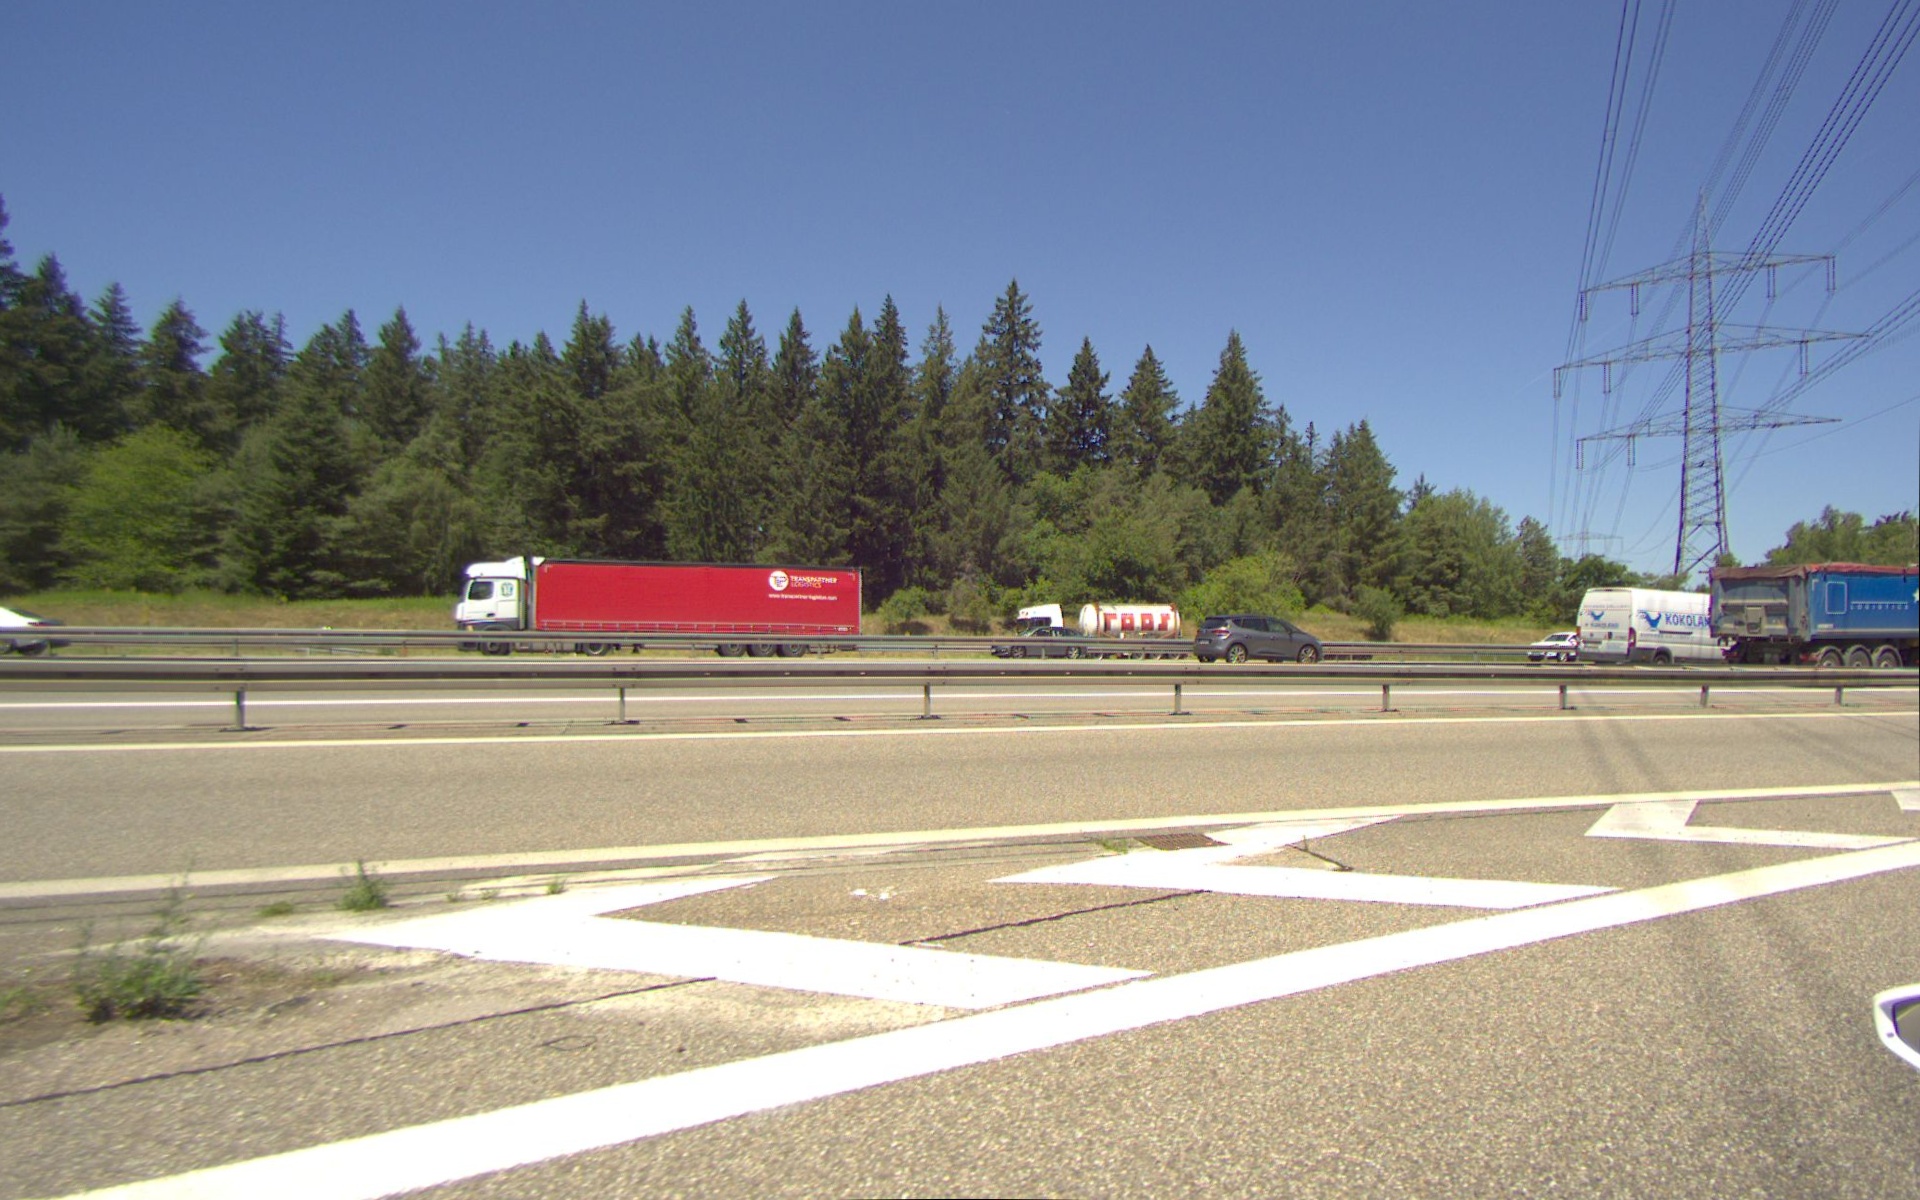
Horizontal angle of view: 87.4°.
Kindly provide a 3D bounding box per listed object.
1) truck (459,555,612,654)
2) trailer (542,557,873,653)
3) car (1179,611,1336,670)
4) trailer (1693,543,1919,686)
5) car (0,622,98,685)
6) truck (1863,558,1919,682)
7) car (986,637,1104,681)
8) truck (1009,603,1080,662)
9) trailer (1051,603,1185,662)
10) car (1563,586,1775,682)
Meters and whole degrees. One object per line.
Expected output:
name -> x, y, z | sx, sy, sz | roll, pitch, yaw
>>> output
truck -> -17.237, 0.233, 41.167 | 5.581, 3.848, 2.538 | 1, -1, -20
trailer -> -10.669, 0.285, 43.534 | 13.528, 3.848, 2.539 | 1, -1, -20
car -> 9.642, 1.325, 32.527 | 4.753, 1.706, 1.769 | 3, -2, -20
trailer -> 26.745, 0.536, 30.185 | 9.737, 3.858, 2.767 | 2, -1, -21
car -> -27.962, 1.476, 28.625 | 4.752, 1.706, 1.770 | 3, -2, -20
truck -> 31.948, 0.667, 32.157 | 4.552, 3.858, 2.753 | 1, -1, -20
car -> 3.718, 2.566, 43.879 | 4.753, 1.706, 1.913 | 3, -2, -20
truck -> 5.582, 2.137, 66.635 | 3.938, 3.848, 2.765 | 1, -1, -19
trailer -> 10.786, 2.198, 68.413 | 8.797, 3.848, 2.770 | 1, -1, -19
car -> 23.807, 1.166, 33.685 | 6.947, 2.870, 2.236 | 3, -2, -20
